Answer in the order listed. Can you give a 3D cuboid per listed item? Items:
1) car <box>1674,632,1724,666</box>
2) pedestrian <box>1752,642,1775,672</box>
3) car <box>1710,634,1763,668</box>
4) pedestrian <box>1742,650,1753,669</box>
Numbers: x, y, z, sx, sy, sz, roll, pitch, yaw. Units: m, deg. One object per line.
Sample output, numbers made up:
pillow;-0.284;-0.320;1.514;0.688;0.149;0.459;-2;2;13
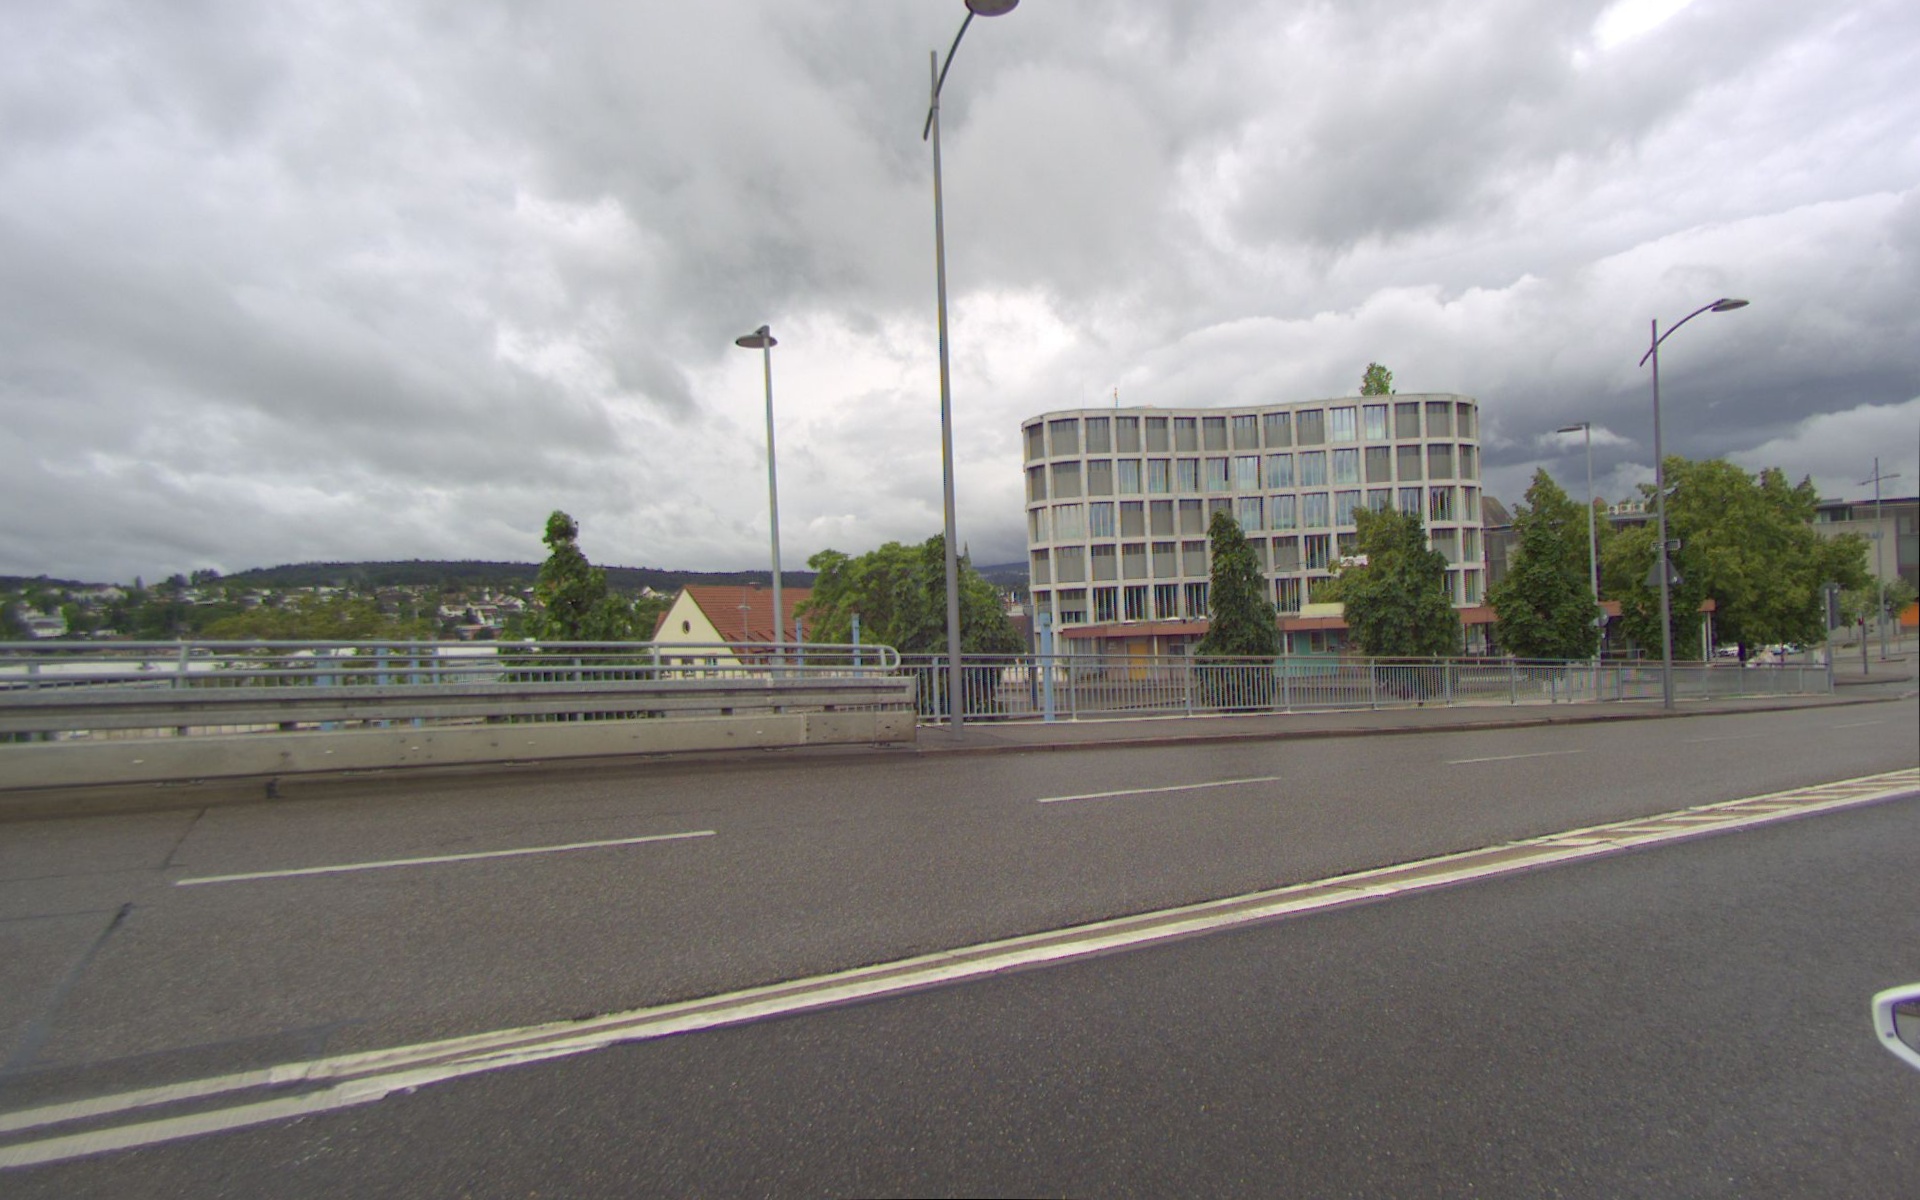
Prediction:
car;53.631;3.536;72.956;1.962;2.041;3.997;3;3;24
pedestrian;38.313;2.702;47.875;0.524;1.427;0.646;-1;-1;-27
car;55.525;3.622;71.868;1.962;2.041;3.997;3;3;24
pedestrian;38.032;2.869;48.487;0.294;0.885;0.300;-1;-1;-27
